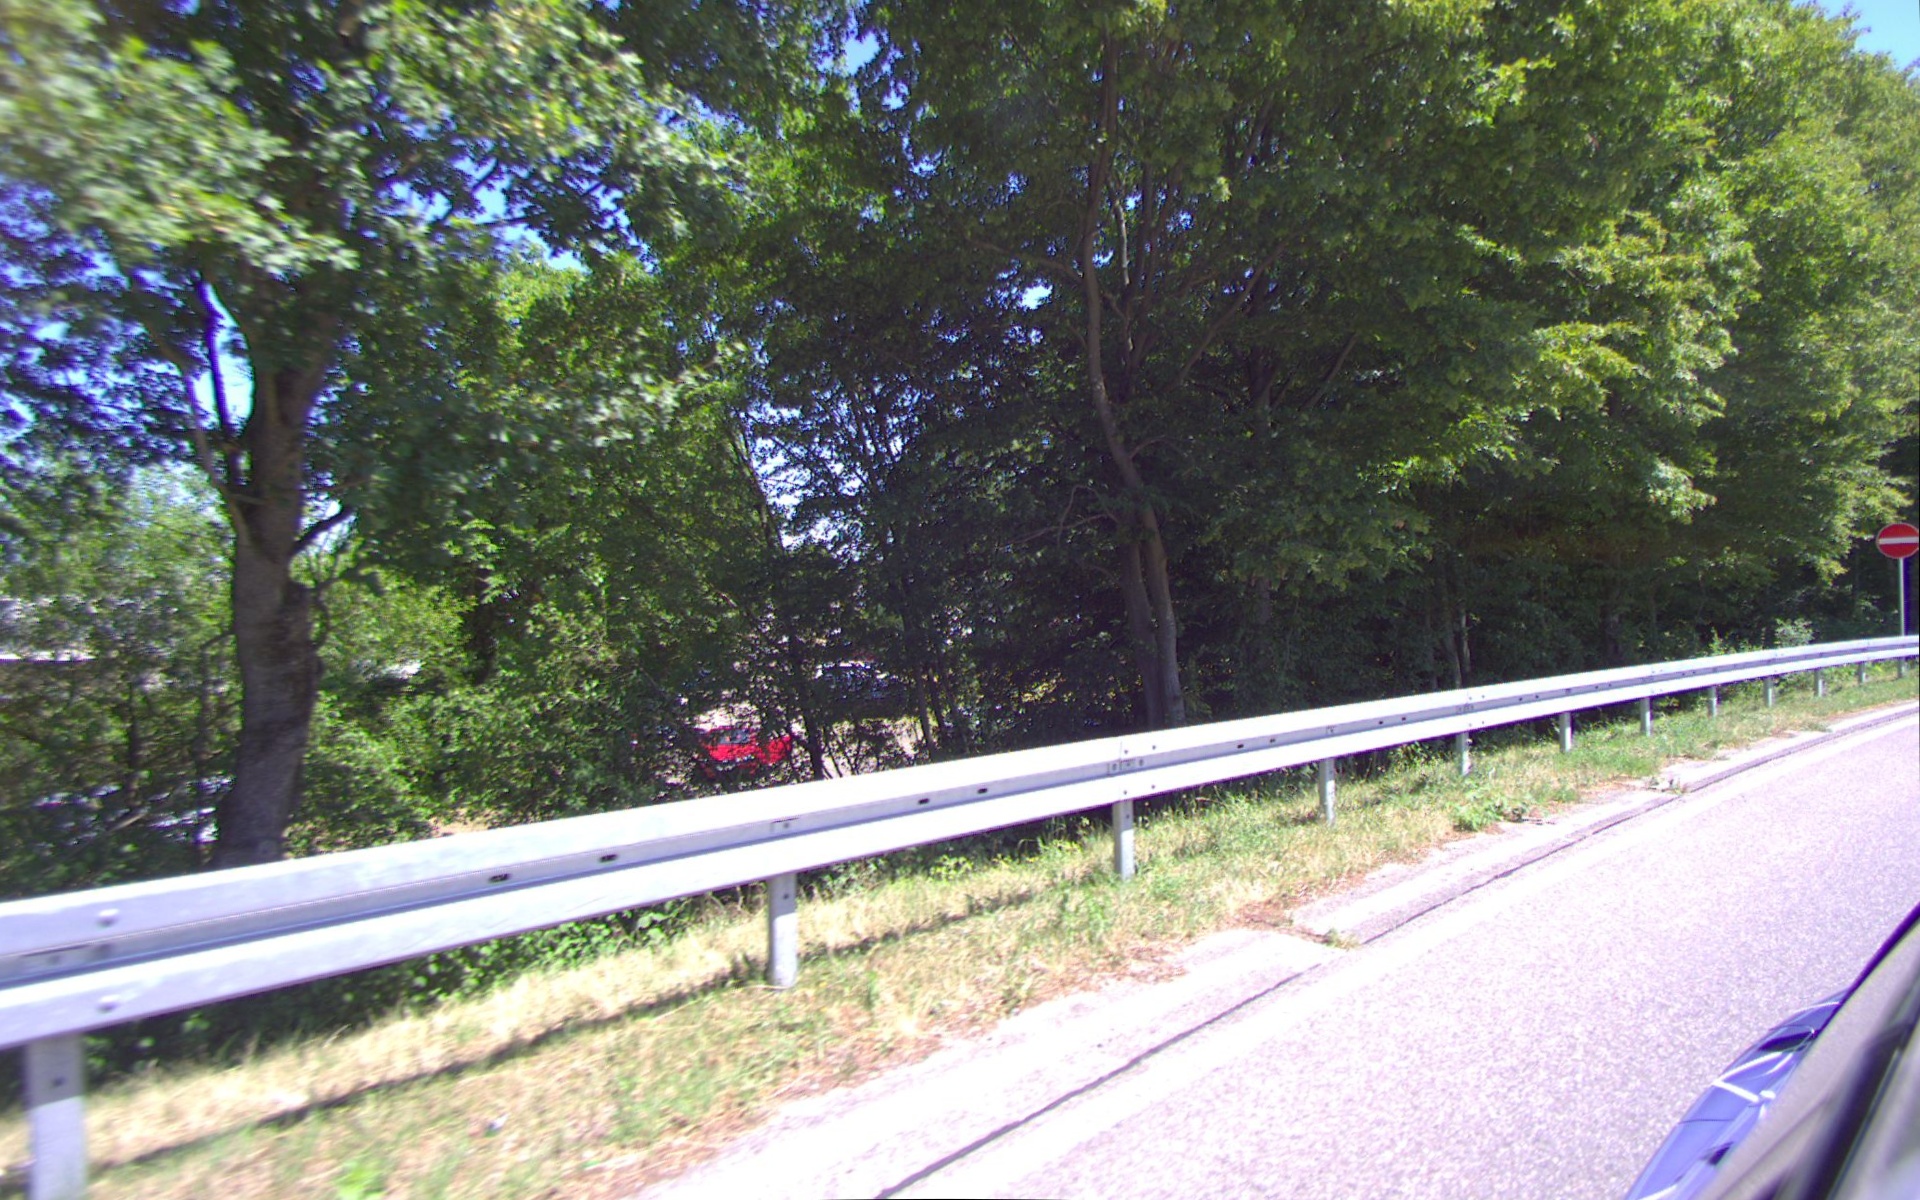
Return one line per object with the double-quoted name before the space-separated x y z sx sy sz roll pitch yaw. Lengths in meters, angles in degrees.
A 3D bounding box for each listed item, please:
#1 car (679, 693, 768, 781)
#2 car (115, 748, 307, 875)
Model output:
"car" -6.857 3.927 29.708 1.960 2.039 4.003 -1 0 -4
"car" -16.065 4.458 21.987 1.958 1.872 4.007 -1 0 -14
